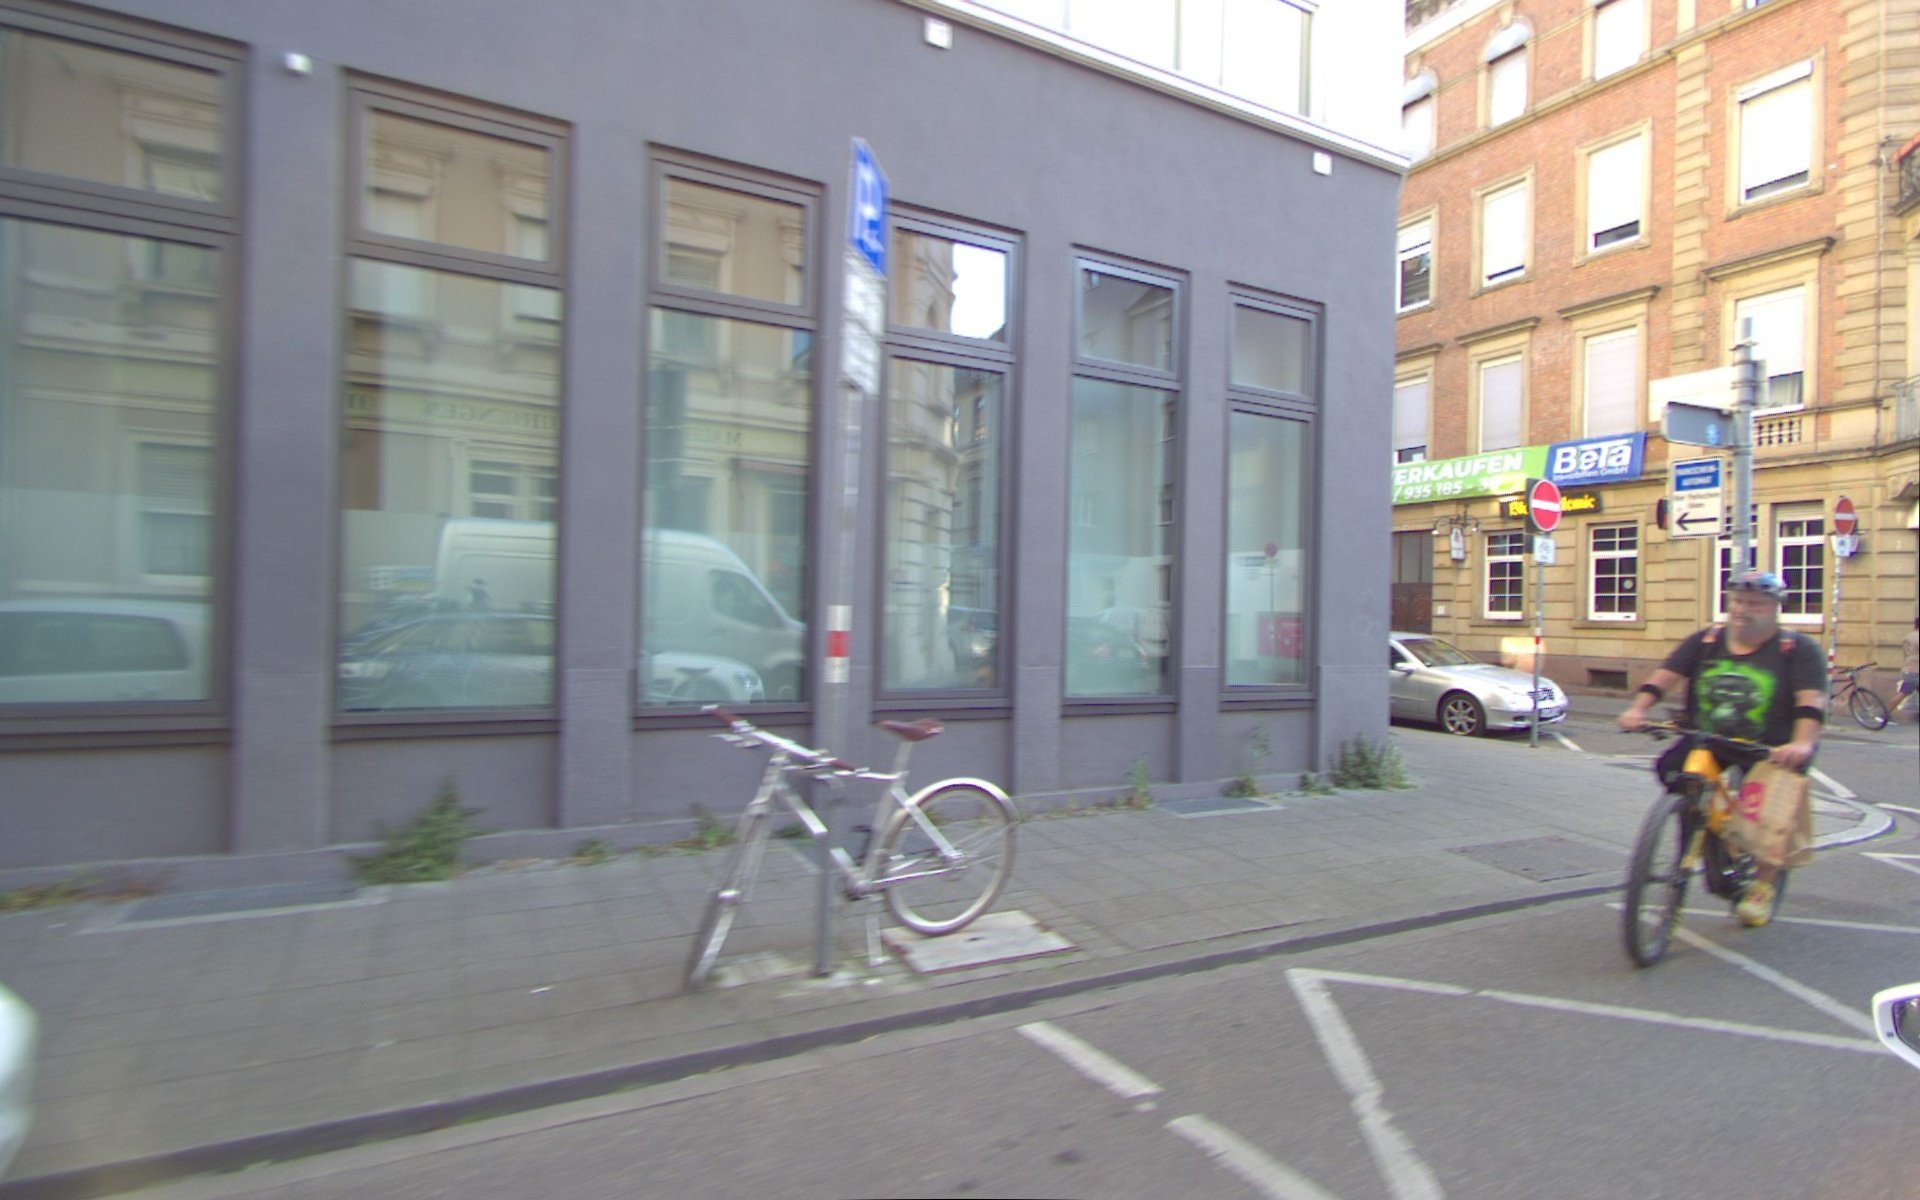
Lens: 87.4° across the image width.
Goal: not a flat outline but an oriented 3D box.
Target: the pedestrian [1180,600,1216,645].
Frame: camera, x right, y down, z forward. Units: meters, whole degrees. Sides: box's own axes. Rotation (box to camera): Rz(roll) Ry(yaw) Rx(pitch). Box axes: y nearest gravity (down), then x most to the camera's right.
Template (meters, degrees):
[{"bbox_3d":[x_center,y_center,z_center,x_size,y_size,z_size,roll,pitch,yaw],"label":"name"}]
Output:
[{"bbox_3d":[7.410,0.703,31.283,0.823,1.357,0.804,2,0,-7],"label":"pedestrian"}]

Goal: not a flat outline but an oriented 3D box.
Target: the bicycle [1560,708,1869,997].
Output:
[{"bbox_3d":[3.608,1.080,4.738,1.960,1.021,0.535,2,0,-34],"label":"bicycle"}]

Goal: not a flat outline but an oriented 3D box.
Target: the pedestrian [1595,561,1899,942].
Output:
[{"bbox_3d":[3.738,0.634,4.778,1.071,1.566,0.824,2,0,-33],"label":"pedestrian"}]

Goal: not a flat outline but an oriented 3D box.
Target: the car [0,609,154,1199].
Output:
[{"bbox_3d":[-3.257,0.681,0.764,3.835,1.432,1.650,2,-1,-29],"label":"car"}]

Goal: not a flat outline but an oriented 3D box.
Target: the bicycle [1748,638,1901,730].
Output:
[{"bbox_3d":[13.803,1.301,16.083,0.653,1.292,1.748,-2,2,-31],"label":"bicycle"}]

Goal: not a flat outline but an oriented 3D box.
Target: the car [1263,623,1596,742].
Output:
[{"bbox_3d":[6.910,1.119,15.329,1.735,1.420,4.454,0,0,-29],"label":"car"}]

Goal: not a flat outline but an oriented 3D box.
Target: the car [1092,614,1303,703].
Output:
[{"bbox_3d":[4.677,1.101,20.346,1.989,1.545,4.089,2,-1,-27],"label":"car"}]

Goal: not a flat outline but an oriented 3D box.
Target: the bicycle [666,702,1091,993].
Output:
[{"bbox_3d":[-0.313,0.924,4.121,1.623,0.917,0.594,2,0,-27],"label":"bicycle"}]

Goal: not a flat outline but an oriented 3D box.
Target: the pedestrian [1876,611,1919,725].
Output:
[{"bbox_3d":[15.454,1.086,16.123,0.977,1.765,1.004,2,0,-42],"label":"pedestrian"}]
